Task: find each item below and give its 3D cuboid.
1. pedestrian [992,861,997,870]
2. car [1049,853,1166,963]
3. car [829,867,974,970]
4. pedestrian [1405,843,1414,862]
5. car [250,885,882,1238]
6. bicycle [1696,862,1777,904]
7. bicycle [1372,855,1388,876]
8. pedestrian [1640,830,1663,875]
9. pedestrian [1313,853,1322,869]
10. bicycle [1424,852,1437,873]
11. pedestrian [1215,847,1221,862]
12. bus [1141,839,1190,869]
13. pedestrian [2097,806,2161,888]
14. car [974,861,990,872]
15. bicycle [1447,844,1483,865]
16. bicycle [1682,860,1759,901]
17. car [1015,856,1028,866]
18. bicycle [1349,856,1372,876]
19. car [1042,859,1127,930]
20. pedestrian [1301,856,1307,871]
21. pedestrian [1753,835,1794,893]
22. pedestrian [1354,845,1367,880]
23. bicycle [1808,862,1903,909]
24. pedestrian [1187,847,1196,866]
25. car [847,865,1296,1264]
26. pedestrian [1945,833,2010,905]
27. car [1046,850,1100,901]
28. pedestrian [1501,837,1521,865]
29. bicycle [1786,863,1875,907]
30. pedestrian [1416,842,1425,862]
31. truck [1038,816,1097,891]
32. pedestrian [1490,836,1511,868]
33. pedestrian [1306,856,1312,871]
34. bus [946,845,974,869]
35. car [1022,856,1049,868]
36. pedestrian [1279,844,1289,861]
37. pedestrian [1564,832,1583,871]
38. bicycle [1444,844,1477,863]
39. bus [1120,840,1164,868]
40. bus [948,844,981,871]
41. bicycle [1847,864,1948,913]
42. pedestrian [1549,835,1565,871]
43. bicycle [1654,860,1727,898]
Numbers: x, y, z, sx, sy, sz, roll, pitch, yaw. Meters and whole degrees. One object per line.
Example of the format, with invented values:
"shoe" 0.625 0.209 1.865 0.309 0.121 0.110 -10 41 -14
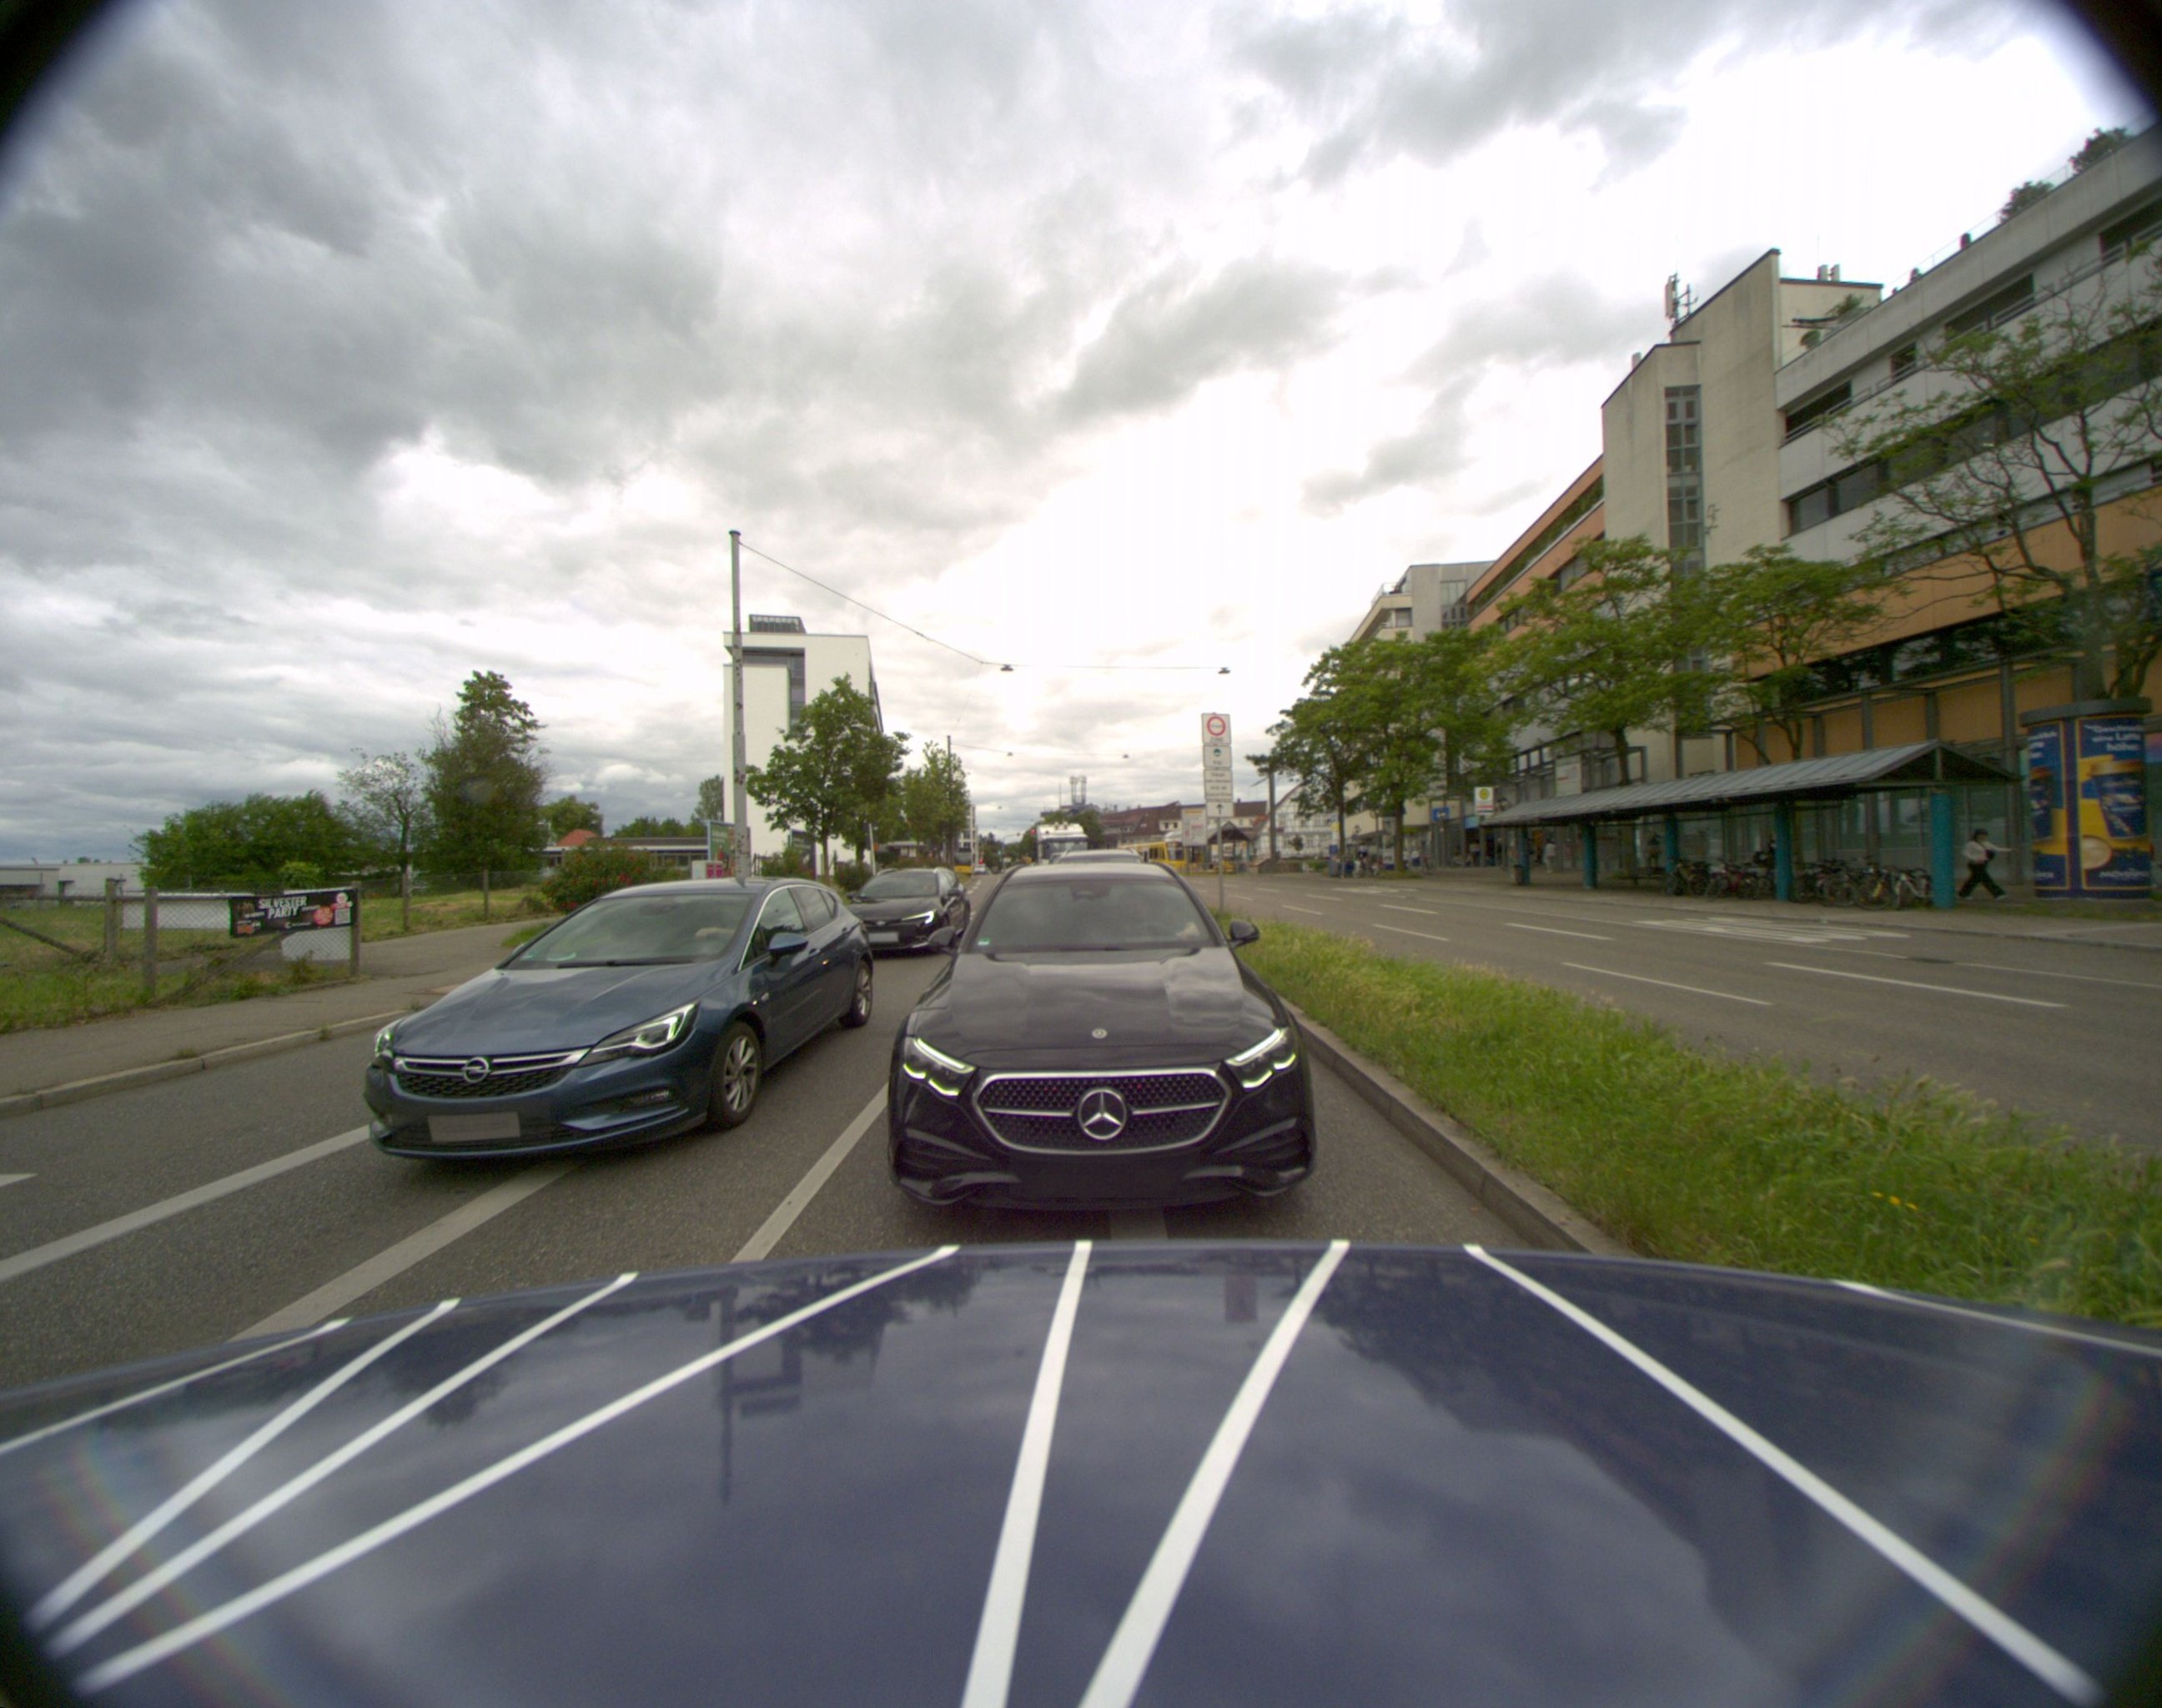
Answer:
"pedestrian" -20.016 2.662 175.390 0.975 2.002 0.991 -2 1 -13
"car" 0.396 0.818 13.485 1.734 1.601 4.000 -2 0 0
"car" -3.063 1.038 13.762 1.665 1.448 3.921 -2 0 0
"pedestrian" 25.426 -0.135 58.795 0.555 1.485 0.454 -1 1 8
"car" -2.910 1.047 5.530 1.826 1.402 4.000 -2 0 0
"bicycle" 17.951 0.787 20.814 1.735 1.035 0.549 -3 1 -2
"bicycle" 16.404 0.618 41.649 0.593 1.071 2.041 0 1 29
"pedestrian" 25.502 -0.054 33.967 0.566 2.002 0.611 -1 1 6
"pedestrian" 22.271 0.653 71.651 0.577 1.533 0.583 -1 1 -8
"bicycle" 19.489 0.465 42.388 0.593 1.119 2.040 0 1 24
"pedestrian" 18.313 0.119 101.578 0.742 2.002 0.939 -1 1 11
"bus" 8.700 -0.002 79.018 2.556 2.966 8.498 -1 0 -11
"pedestrian" 26.373 -0.175 19.069 0.710 2.002 0.793 -2 1 -10
"car" -15.097 1.869 115.689 1.854 1.606 3.778 -3 0 -17
"bicycle" 26.996 0.026 53.404 2.139 1.367 0.620 -2 1 18
"bicycle" 18.287 0.741 21.746 1.735 1.035 0.549 -4 1 -2
"car" -11.280 1.371 143.511 1.998 1.674 3.999 -2 1 1
"bicycle" 15.481 0.651 42.020 0.593 1.071 2.041 0 1 38
"car" 0.048 0.908 18.912 1.865 1.520 3.999 -1 0 -1
"pedestrian" 18.072 0.788 61.487 0.341 1.172 0.369 -1 1 -9
"pedestrian" 21.579 0.300 23.690 0.531 1.776 0.770 -1 1 -7
"pedestrian" 18.207 0.547 49.461 0.590 2.294 0.608 -1 1 -2
"bicycle" 18.629 0.749 18.287 1.735 1.035 0.549 -3 1 -2
"pedestrian" 11.794 0.223 80.942 0.637 2.002 0.667 -1 1 -20
"car" -0.049 0.882 5.193 1.793 1.507 4.249 -1 0 0
"pedestrian" 21.354 0.348 18.107 0.678 1.640 0.721 -2 1 -3
"car" -0.364 0.740 28.348 1.865 1.773 3.999 -1 0 -2
"pedestrian" 25.422 -0.171 44.963 0.765 1.673 0.752 -1 1 1
"bicycle" 19.029 0.772 19.312 1.735 1.035 0.549 -2 1 -2
"pedestrian" 26.118 -0.157 58.426 0.555 1.485 0.454 -1 1 8
"truck" -0.796 -0.048 37.197 2.490 3.258 7.428 -1 0 -4
"pedestrian" 24.376 -0.123 44.170 0.765 1.835 0.752 -1 1 1
"pedestrian" 18.465 0.772 61.570 0.341 1.172 0.369 -1 1 -9
"bus" -15.222 0.338 95.052 2.969 2.616 12.911 -2 1 -11
"car" -7.773 1.403 130.635 4.139 1.875 1.850 -3 1 -19
"pedestrian" 23.614 -0.184 88.396 0.879 2.002 1.010 -1 1 6
"pedestrian" 25.487 -0.117 39.321 0.566 2.002 0.611 -1 1 6
"bicycle" 27.758 -0.031 55.555 2.138 1.358 0.620 -2 1 26
"bus" 6.936 0.002 87.955 2.556 2.966 9.790 -1 0 -11
"bus" -12.816 0.384 82.729 2.969 2.616 12.137 -2 1 -11
"bicycle" 18.688 0.782 17.401 1.735 1.035 0.549 -2 1 -2
"pedestrian" 24.101 -0.051 38.492 0.648 1.799 0.761 0 1 34
"bicycle" 18.208 0.745 22.706 1.735 1.035 0.549 -3 1 -2
